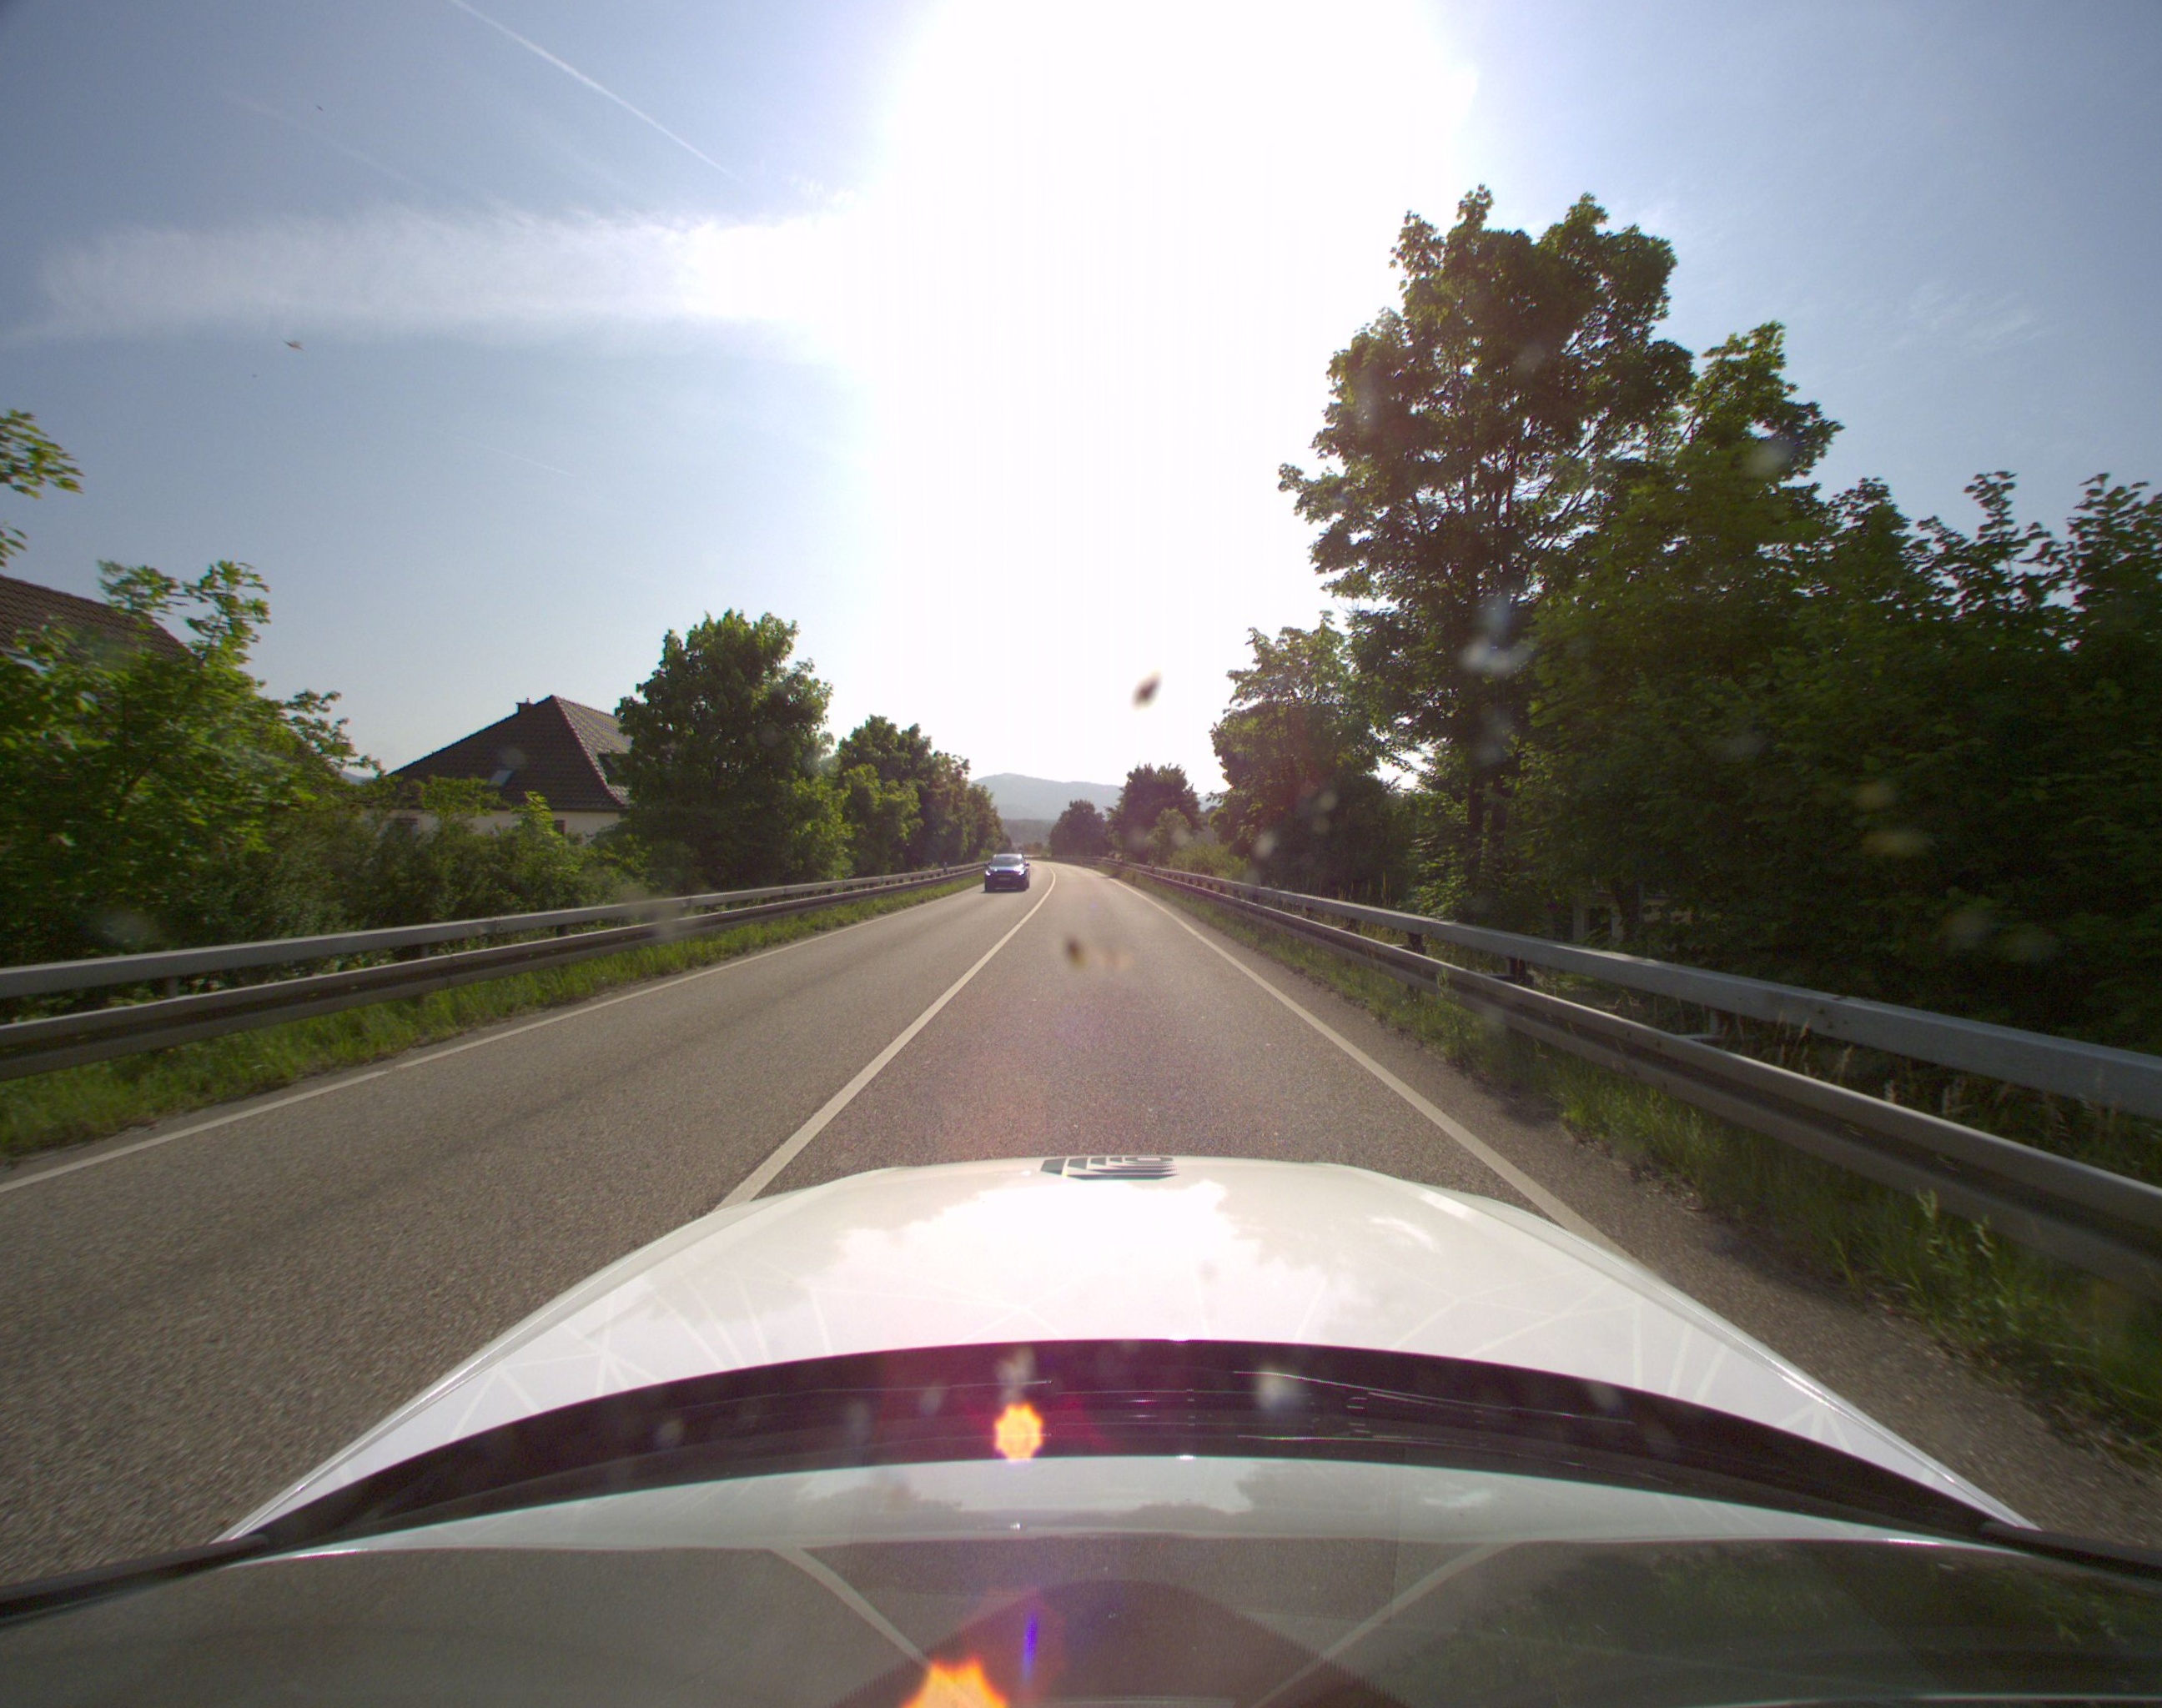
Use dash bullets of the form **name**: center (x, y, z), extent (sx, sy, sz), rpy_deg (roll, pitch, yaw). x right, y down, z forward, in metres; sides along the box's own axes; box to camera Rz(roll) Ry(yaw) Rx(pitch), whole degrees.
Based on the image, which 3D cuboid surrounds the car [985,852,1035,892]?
- **car**: center (-3.073, 0.759, 35.919), extent (1.802, 1.561, 3.991), rpy_deg (-3, 0, 0)
